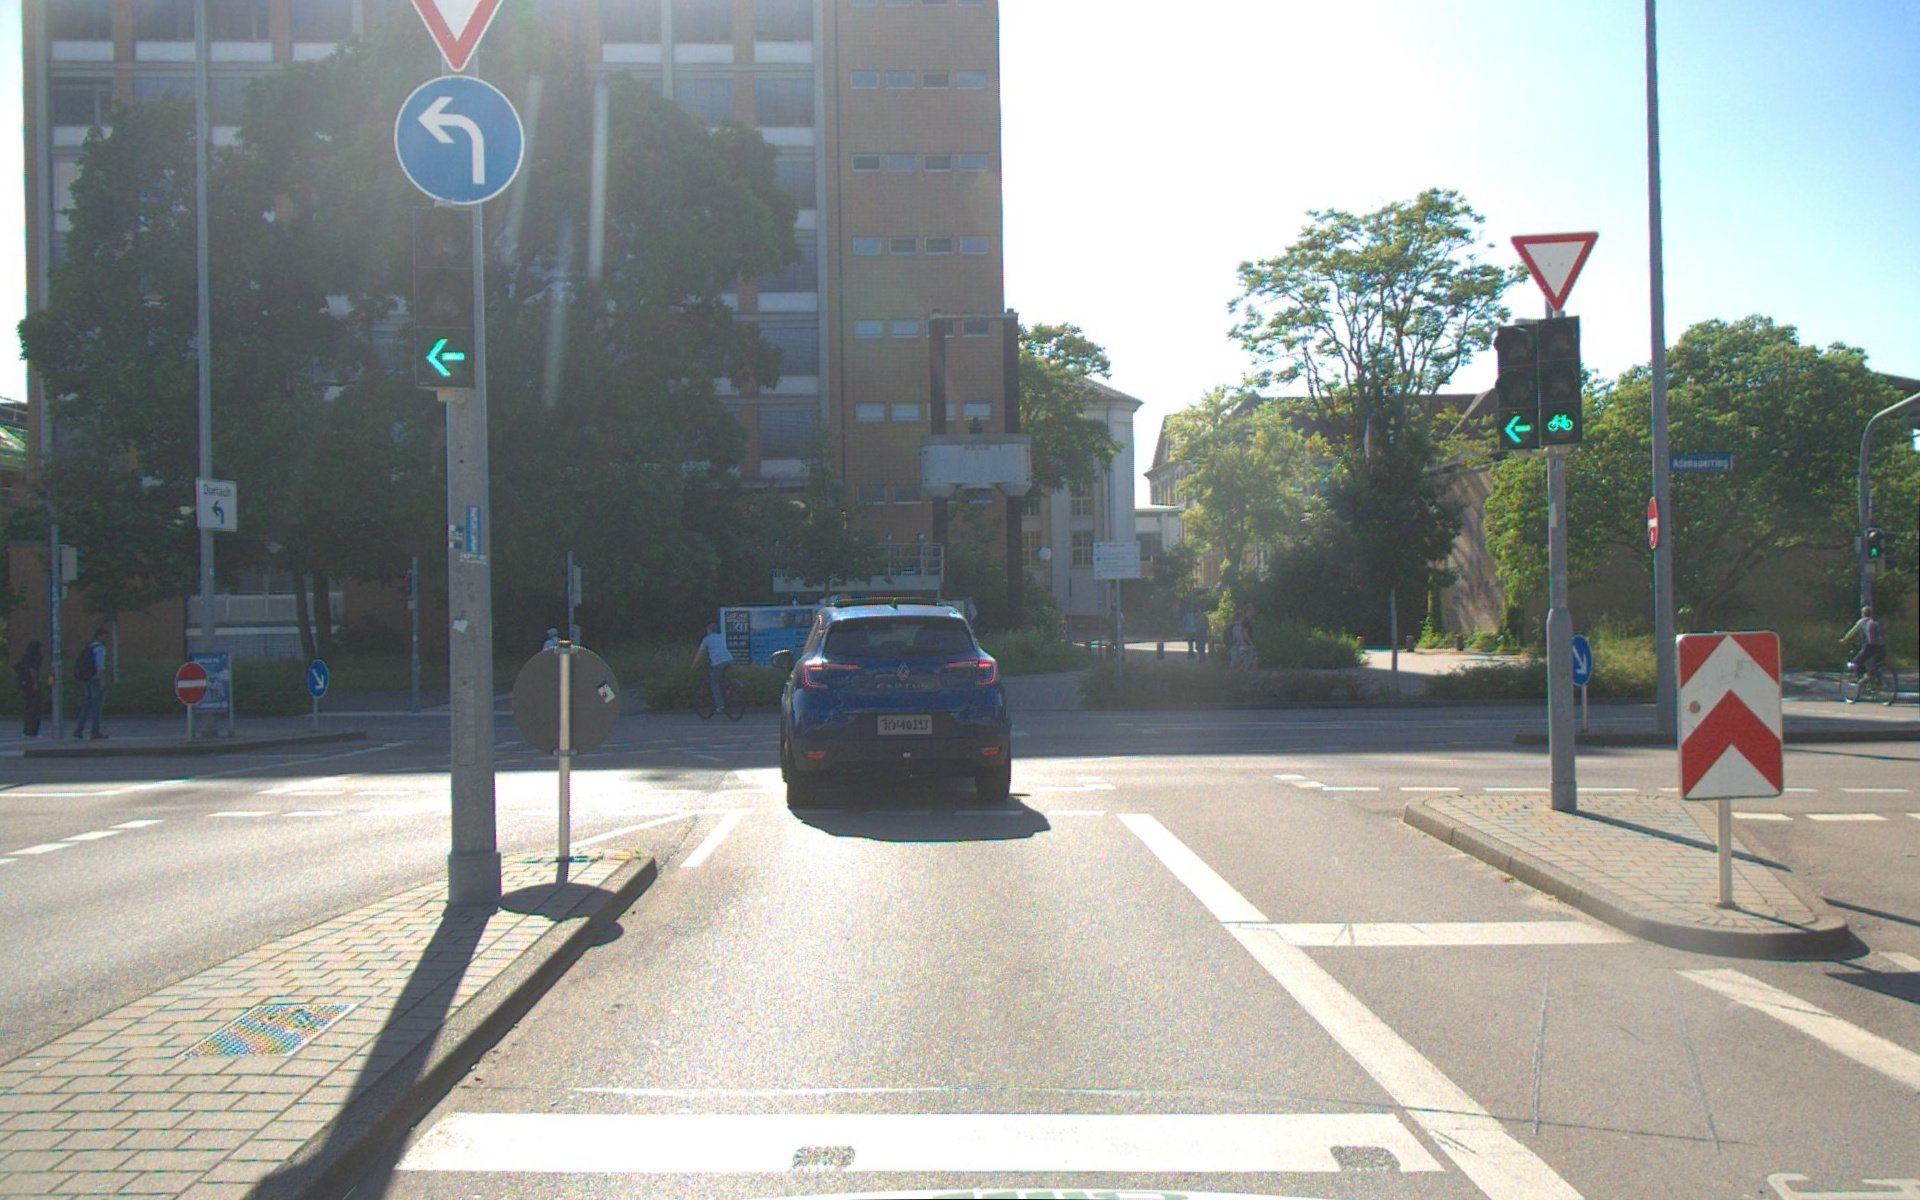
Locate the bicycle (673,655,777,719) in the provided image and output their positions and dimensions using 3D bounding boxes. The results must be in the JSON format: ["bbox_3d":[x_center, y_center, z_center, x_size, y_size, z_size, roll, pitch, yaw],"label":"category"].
[{"bbox_3d":[-4.495,1.660,31.667,1.825,1.185,0.719,-1,-1,18],"label":"bicycle"}]

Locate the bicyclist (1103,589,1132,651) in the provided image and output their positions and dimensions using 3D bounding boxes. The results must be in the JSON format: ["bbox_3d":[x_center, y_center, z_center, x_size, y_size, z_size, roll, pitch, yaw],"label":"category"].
[{"bbox_3d":[4.561,0.587,47.959,0.704,1.765,0.978,-1,-1,12],"label":"bicyclist"}]

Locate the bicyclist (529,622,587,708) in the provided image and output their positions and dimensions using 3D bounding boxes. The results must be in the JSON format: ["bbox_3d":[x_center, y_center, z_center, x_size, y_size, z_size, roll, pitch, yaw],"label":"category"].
[{"bbox_3d":[-8.602,1.375,35.373,0.956,1.793,0.721,-1,-1,28],"label":"bicyclist"}]

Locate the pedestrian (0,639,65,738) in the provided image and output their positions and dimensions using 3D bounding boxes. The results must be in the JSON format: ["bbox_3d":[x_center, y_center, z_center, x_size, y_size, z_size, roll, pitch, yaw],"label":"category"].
[{"bbox_3d":[-15.704,1.492,27.998,0.702,1.640,0.681,-2,-1,23],"label":"pedestrian"}]

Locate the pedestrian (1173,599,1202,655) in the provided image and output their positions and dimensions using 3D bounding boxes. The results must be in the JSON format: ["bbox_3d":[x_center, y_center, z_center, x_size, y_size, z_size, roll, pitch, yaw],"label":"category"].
[{"bbox_3d":[6.998,0.828,50.895,0.662,1.672,0.735,1,-1,25],"label":"pedestrian"}]

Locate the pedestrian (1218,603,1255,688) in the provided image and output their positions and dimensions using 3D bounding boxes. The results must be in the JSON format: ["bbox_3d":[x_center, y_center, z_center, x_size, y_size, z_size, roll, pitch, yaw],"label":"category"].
[{"bbox_3d":[6.145,1.000,36.713,0.718,1.848,0.732,1,-1,16],"label":"pedestrian"}]

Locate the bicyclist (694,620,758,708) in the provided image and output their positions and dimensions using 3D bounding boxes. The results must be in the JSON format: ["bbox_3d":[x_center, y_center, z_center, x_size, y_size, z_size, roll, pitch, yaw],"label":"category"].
[{"bbox_3d":[-4.477,1.226,31.661,0.954,1.645,0.722,-1,-1,19],"label":"bicyclist"}]

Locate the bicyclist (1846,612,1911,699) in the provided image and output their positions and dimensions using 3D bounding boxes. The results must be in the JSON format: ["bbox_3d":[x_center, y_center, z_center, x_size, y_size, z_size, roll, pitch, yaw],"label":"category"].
[{"bbox_3d":[16.117,0.959,29.032,0.629,1.469,0.775,-2,1,-8],"label":"bicyclist"}]

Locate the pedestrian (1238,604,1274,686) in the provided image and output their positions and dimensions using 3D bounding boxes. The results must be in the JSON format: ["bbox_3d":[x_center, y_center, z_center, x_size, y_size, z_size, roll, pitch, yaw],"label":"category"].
[{"bbox_3d":[6.711,1.015,37.461,0.718,1.813,0.732,1,-1,16],"label":"pedestrian"}]

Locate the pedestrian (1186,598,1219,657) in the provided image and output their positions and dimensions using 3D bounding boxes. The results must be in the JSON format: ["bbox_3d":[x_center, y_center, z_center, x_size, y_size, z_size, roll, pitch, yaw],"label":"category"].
[{"bbox_3d":[7.030,0.793,47.929,0.665,1.672,0.732,0,-1,39],"label":"pedestrian"}]

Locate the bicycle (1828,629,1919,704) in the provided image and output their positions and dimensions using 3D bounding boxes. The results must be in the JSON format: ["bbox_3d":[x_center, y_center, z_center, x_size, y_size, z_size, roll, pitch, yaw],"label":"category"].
[{"bbox_3d":[16.132,1.153,29.017,0.629,1.185,1.867,-2,1,-8],"label":"bicycle"}]

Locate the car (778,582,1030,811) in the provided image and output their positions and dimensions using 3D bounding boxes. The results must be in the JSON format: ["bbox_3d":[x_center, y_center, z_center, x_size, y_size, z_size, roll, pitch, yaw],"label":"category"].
[{"bbox_3d":[-0.569,0.717,14.180,1.840,1.646,3.793,-1,0,-5],"label":"car"}]

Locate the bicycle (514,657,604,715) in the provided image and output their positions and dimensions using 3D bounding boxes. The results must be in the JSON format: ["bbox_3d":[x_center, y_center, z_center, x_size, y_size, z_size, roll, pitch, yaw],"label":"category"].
[{"bbox_3d":[-8.576,1.822,35.361,1.828,1.185,0.747,-1,-1,28],"label":"bicycle"}]

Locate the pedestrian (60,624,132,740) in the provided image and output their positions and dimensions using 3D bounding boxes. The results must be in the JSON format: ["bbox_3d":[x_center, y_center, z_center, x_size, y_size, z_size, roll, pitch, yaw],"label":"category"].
[{"bbox_3d":[-14.322,1.342,27.440,0.740,1.865,1.093,-1,-2,-10],"label":"pedestrian"}]

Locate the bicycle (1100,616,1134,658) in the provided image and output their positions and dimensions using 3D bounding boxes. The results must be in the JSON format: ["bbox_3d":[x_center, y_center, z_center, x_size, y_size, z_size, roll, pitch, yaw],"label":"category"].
[{"bbox_3d":[4.574,1.068,48.008,0.730,1.185,1.872,-1,0,12],"label":"bicycle"}]
